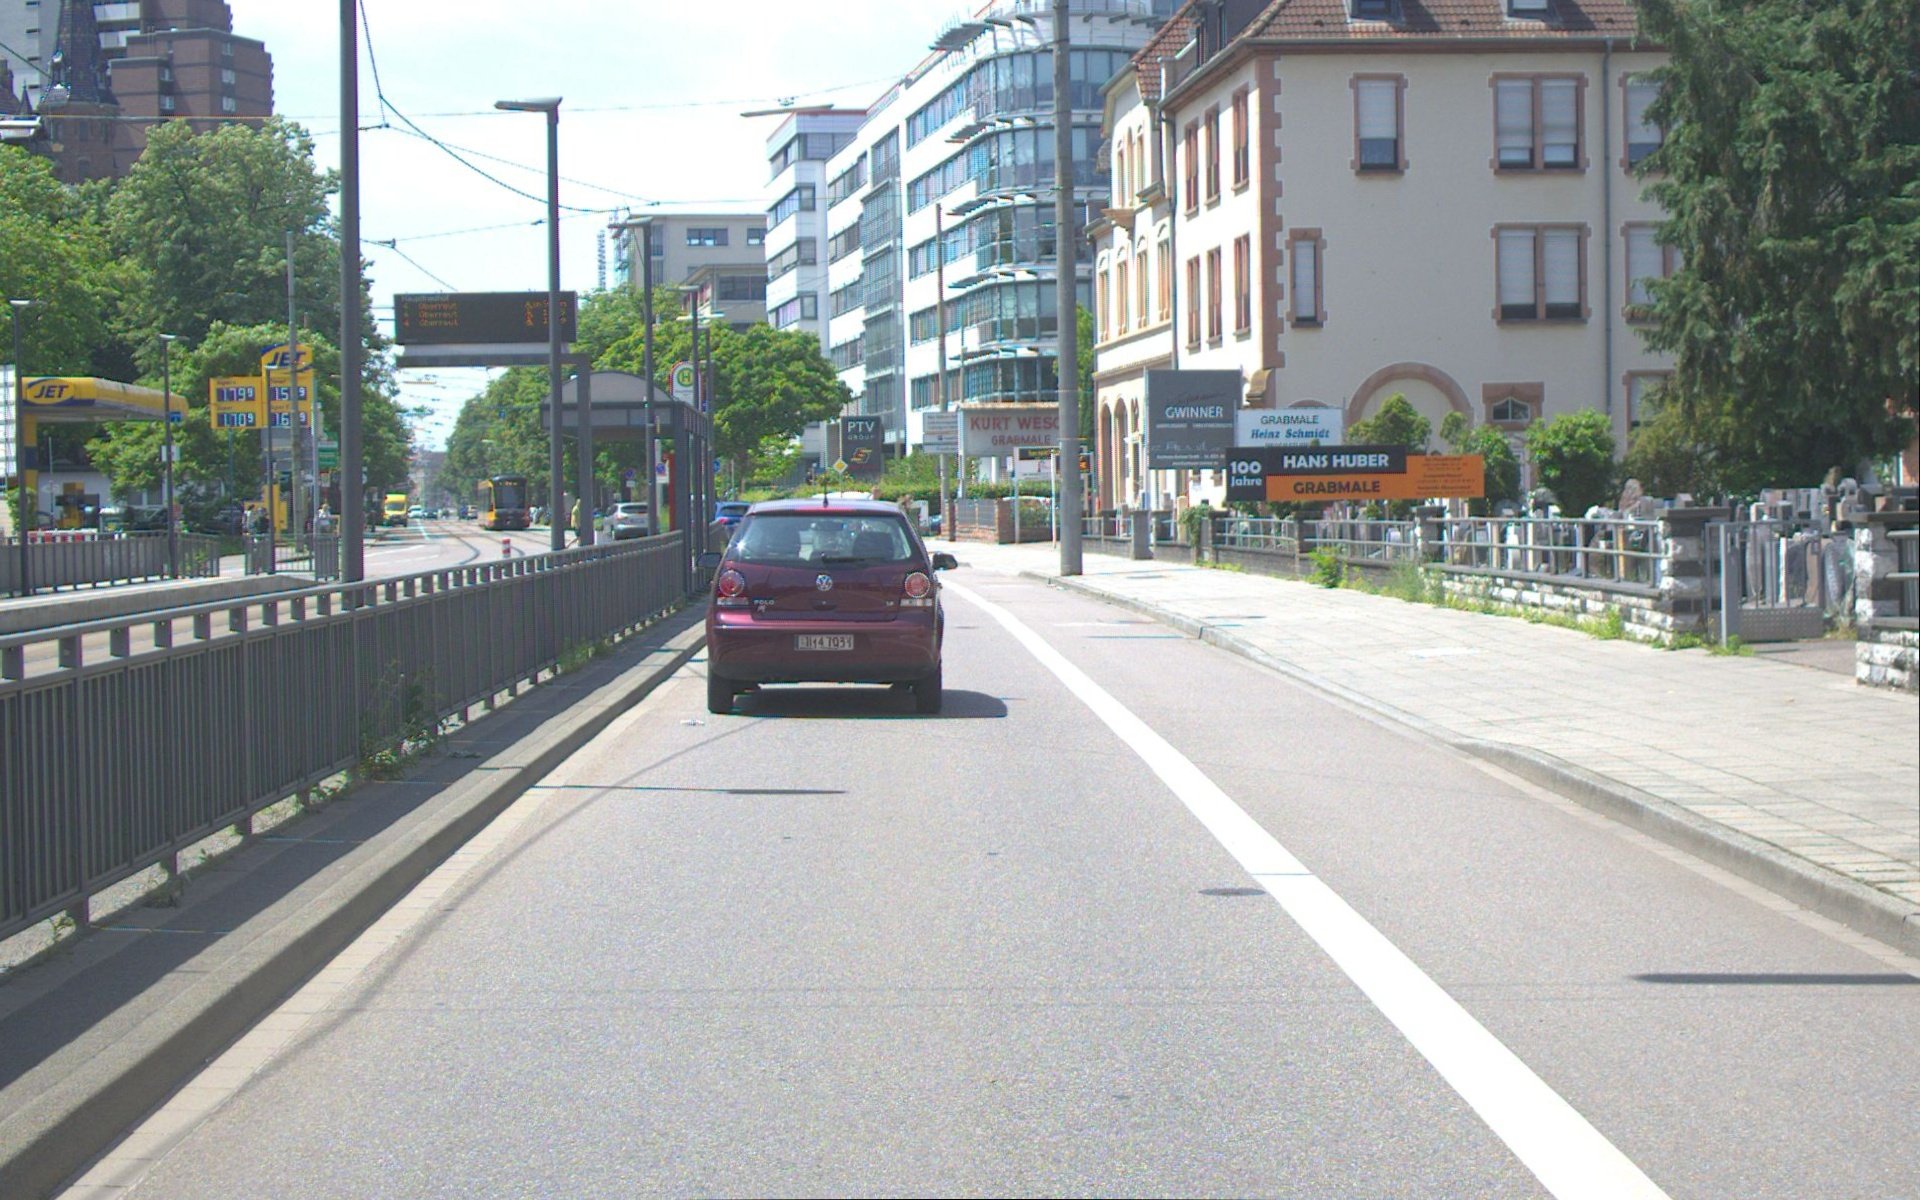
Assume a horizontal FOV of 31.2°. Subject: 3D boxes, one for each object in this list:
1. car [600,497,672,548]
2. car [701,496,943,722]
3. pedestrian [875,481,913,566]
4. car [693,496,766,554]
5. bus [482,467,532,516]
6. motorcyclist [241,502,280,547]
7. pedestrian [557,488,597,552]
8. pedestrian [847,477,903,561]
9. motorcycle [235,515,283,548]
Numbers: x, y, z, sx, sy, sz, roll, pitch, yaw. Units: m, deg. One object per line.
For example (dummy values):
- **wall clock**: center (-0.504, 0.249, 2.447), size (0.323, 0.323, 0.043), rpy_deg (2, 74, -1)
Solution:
- **car**: center (-12.428, -2.990, 131.709), size (1.993, 1.842, 4.002), rpy_deg (-2, 2, -16)
- **car**: center (-0.956, 0.014, 24.288), size (1.561, 1.448, 3.062), rpy_deg (-2, 2, -2)
- **pedestrian**: center (-1.457, -1.676, 75.329), size (0.744, 1.830, 0.792), rpy_deg (-2, 2, -3)
- **car**: center (-6.867, -2.265, 102.844), size (1.993, 1.619, 4.632), rpy_deg (-2, 2, -2)
- **bus**: center (-28.655, -6.867, 217.244), size (2.144, 2.992, 6.576), rpy_deg (-2, 2, -15)
- **motorcyclist**: center (-18.303, -1.987, 89.942), size (0.849, 1.135, 0.634), rpy_deg (-2, 2, -1)
- **pedestrian**: center (-12.261, -2.573, 110.146), size (1.109, 2.007, 1.039), rpy_deg (-1, 1, 0)
- **pedestrian**: center (-1.894, -1.817, 76.896), size (1.168, 1.830, 0.792), rpy_deg (-2, 2, -3)
- **motorcycle**: center (-18.318, -1.804, 89.875), size (0.872, 0.803, 1.910), rpy_deg (-2, 2, -1)
